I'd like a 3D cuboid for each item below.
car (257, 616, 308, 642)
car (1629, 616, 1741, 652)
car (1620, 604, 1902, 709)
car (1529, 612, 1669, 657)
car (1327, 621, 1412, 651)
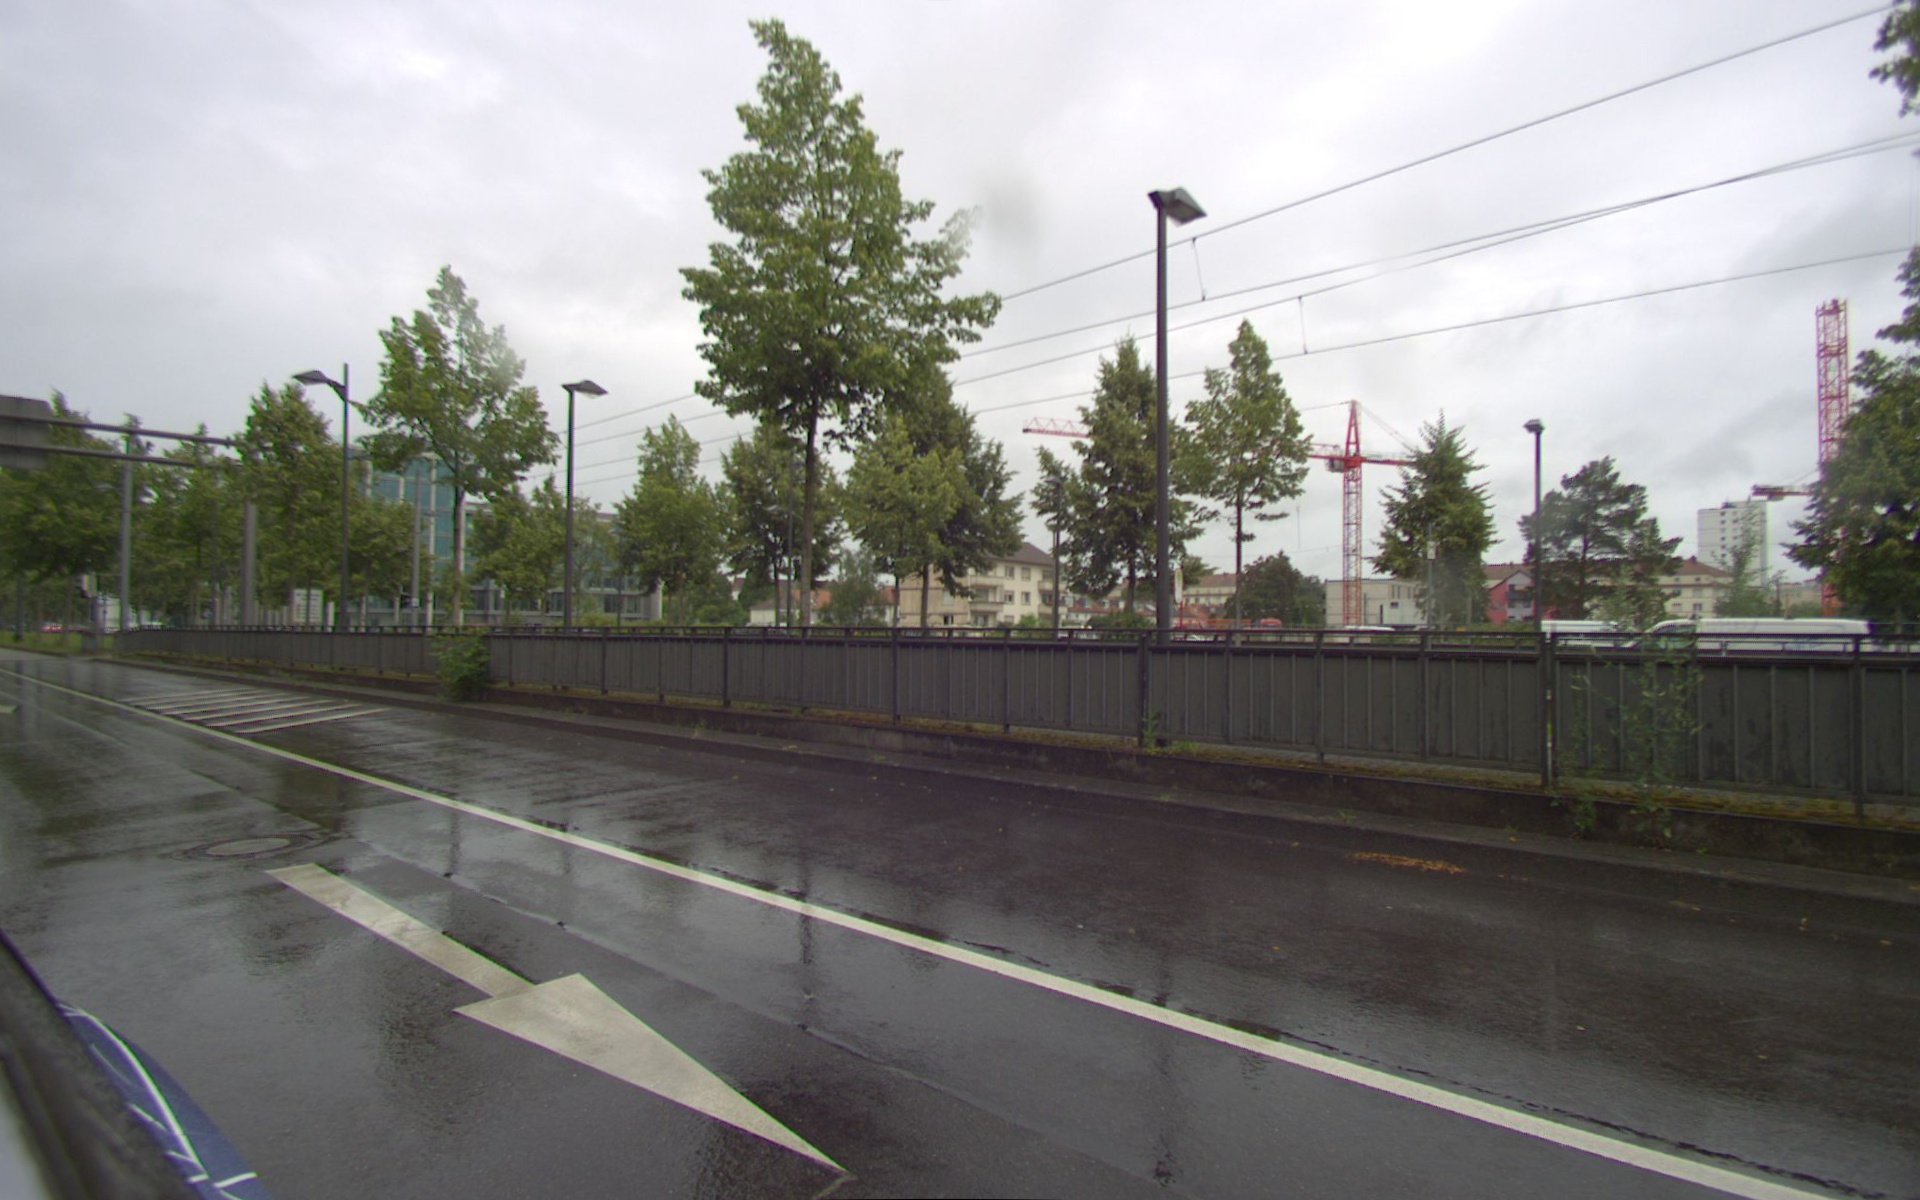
[{"bbox_3d":[-48.566,2.025,72.549,3.997,1.759,1.973,-1,0,40],"label":"car"},{"bbox_3d":[43.828,2.012,61.259,5.414,2.067,1.974,-1,0,38],"label":"car"},{"bbox_3d":[14.986,0.972,19.133,3.997,1.759,1.973,-1,0,40],"label":"car"},{"bbox_3d":[36.927,1.939,58.625,6.739,2.480,1.974,-1,0,38],"label":"car"},{"bbox_3d":[32.836,2.863,81.235,6.127,2.323,1.977,-1,0,34],"label":"car"}]
